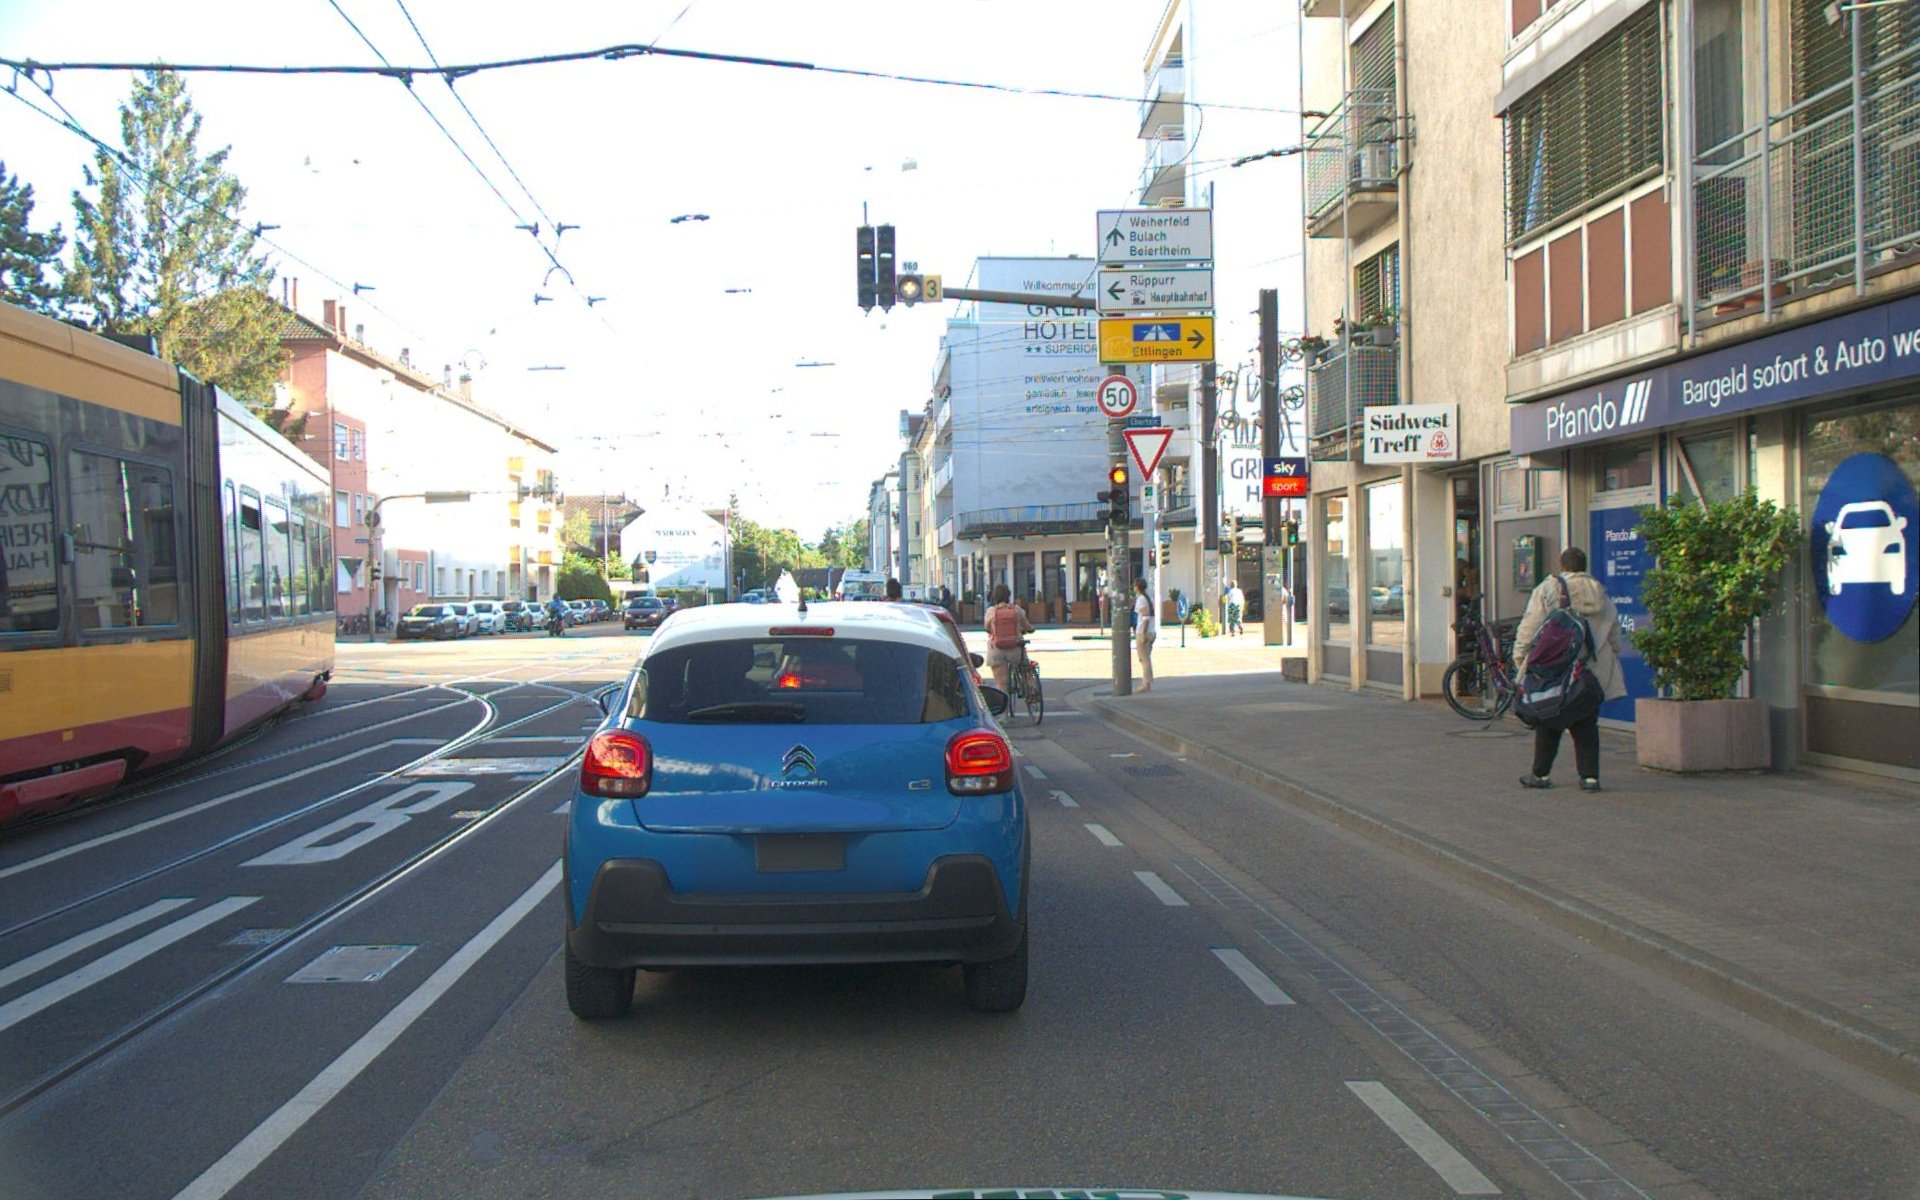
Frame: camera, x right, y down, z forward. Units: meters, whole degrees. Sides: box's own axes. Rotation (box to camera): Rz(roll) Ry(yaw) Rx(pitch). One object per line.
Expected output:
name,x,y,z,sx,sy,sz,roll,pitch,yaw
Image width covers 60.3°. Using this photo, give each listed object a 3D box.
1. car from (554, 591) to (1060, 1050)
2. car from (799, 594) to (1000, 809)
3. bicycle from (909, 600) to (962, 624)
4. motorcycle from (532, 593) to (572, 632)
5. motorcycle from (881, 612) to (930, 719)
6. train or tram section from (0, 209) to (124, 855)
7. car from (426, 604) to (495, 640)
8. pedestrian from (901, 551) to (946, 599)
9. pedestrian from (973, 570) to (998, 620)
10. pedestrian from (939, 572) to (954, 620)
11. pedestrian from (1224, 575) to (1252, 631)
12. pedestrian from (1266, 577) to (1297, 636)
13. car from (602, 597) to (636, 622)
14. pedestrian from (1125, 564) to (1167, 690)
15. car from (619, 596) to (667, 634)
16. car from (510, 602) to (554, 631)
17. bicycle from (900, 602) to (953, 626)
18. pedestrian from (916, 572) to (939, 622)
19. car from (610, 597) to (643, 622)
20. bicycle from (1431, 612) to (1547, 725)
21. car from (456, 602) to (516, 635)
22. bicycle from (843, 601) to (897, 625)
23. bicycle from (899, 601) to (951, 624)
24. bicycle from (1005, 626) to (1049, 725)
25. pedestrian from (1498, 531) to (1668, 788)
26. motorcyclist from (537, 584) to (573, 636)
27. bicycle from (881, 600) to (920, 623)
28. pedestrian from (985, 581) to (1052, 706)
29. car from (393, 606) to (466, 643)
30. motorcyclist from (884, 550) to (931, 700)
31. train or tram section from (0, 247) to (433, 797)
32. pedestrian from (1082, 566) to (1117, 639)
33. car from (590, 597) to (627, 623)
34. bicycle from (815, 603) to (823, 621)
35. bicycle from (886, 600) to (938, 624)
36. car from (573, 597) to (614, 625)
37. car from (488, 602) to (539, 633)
car,-0.519,0.726,7.147,1.620,1.469,3.522,1,0,-1
car,-0.448,0.723,13.136,1.395,1.493,2.923,-1,0,-1
bicycle,-0.976,0.479,65.901,2.093,0.917,0.366,1,-1,-10
motorcycle,-16.415,0.476,66.641,0.905,1.512,3.723,1,0,-4
motorcycle,-0.626,0.735,19.415,0.515,1.159,2.289,1,0,-1
train or tram section,-6.589,-0.396,6.456,2.771,3.694,9.073,1,0,-6
car,-22.119,0.948,73.383,1.778,1.524,4.299,1,0,-1
pedestrian,-1.606,-1.089,73.523,1.953,2.049,3.999,1,0,-1
pedestrian,1.062,-0.195,68.365,0.703,2.049,0.751,1,-1,-33
pedestrian,-0.566,-0.164,70.283,0.565,2.049,0.625,1,-1,-3
pedestrian,8.214,0.088,48.915,0.720,1.629,0.749,1,-1,3
pedestrian,9.220,0.185,47.460,0.736,1.686,0.884,1,0,3
car,-23.928,0.679,116.272,1.797,1.716,3.997,1,0,-4
pedestrian,2.721,0.397,24.248,0.507,1.814,0.595,1,-1,-3
car,-14.558,0.679,76.160,1.740,1.695,3.853,1,0,-4
car,-23.728,0.905,91.769,1.699,1.524,3.996,1,0,-5
bicycle,-1.365,0.565,67.212,2.093,0.917,0.366,1,-1,-10
pedestrian,-1.348,-0.122,69.152,0.625,2.049,0.715,1,-1,-37
car,-24.341,0.690,120.905,1.809,1.716,3.871,1,0,-4
bicycle,5.038,0.626,15.841,0.531,1.016,1.705,1,0,-1
car,-22.614,0.873,78.982,1.751,1.537,4.148,1,0,-2
bicycle,-3.605,0.522,66.158,2.093,0.917,0.366,1,-1,-10
bicycle,-1.417,0.516,67.623,2.093,0.917,0.366,1,-1,-10
bicycle,0.815,0.909,20.499,0.419,1.142,1.998,1,0,-1
pedestrian,4.082,0.380,10.884,0.808,1.620,0.751,1,-1,-1
motorcyclist,-16.413,0.390,66.987,1.162,2.049,1.274,-1,0,-4
bicycle,-2.496,0.479,69.300,1.751,0.917,0.365,1,-1,34
pedestrian,0.709,0.526,20.231,0.761,1.486,0.681,1,-1,-1
car,-21.917,1.002,68.464,1.757,1.446,3.994,1,0,-2
motorcyclist,-0.618,0.293,19.605,0.516,1.746,0.717,1,-1,-1
train or tram section,-8.165,-0.527,18.032,2.695,3.695,14.229,1,0,-10
pedestrian,3.967,0.069,47.013,0.907,2.049,0.759,1,-1,-1
car,-23.565,0.663,110.867,1.845,1.716,3.997,1,0,-4
bicycle,-7.413,0.641,86.719,0.342,0.919,1.856,1,0,-7
bicycle,-1.969,0.497,68.298,2.093,0.917,0.366,1,-1,-10
car,-23.403,0.681,105.751,1.944,1.716,3.997,1,0,-4
car,-23.119,0.877,85.746,1.750,1.524,3.997,1,0,-4
